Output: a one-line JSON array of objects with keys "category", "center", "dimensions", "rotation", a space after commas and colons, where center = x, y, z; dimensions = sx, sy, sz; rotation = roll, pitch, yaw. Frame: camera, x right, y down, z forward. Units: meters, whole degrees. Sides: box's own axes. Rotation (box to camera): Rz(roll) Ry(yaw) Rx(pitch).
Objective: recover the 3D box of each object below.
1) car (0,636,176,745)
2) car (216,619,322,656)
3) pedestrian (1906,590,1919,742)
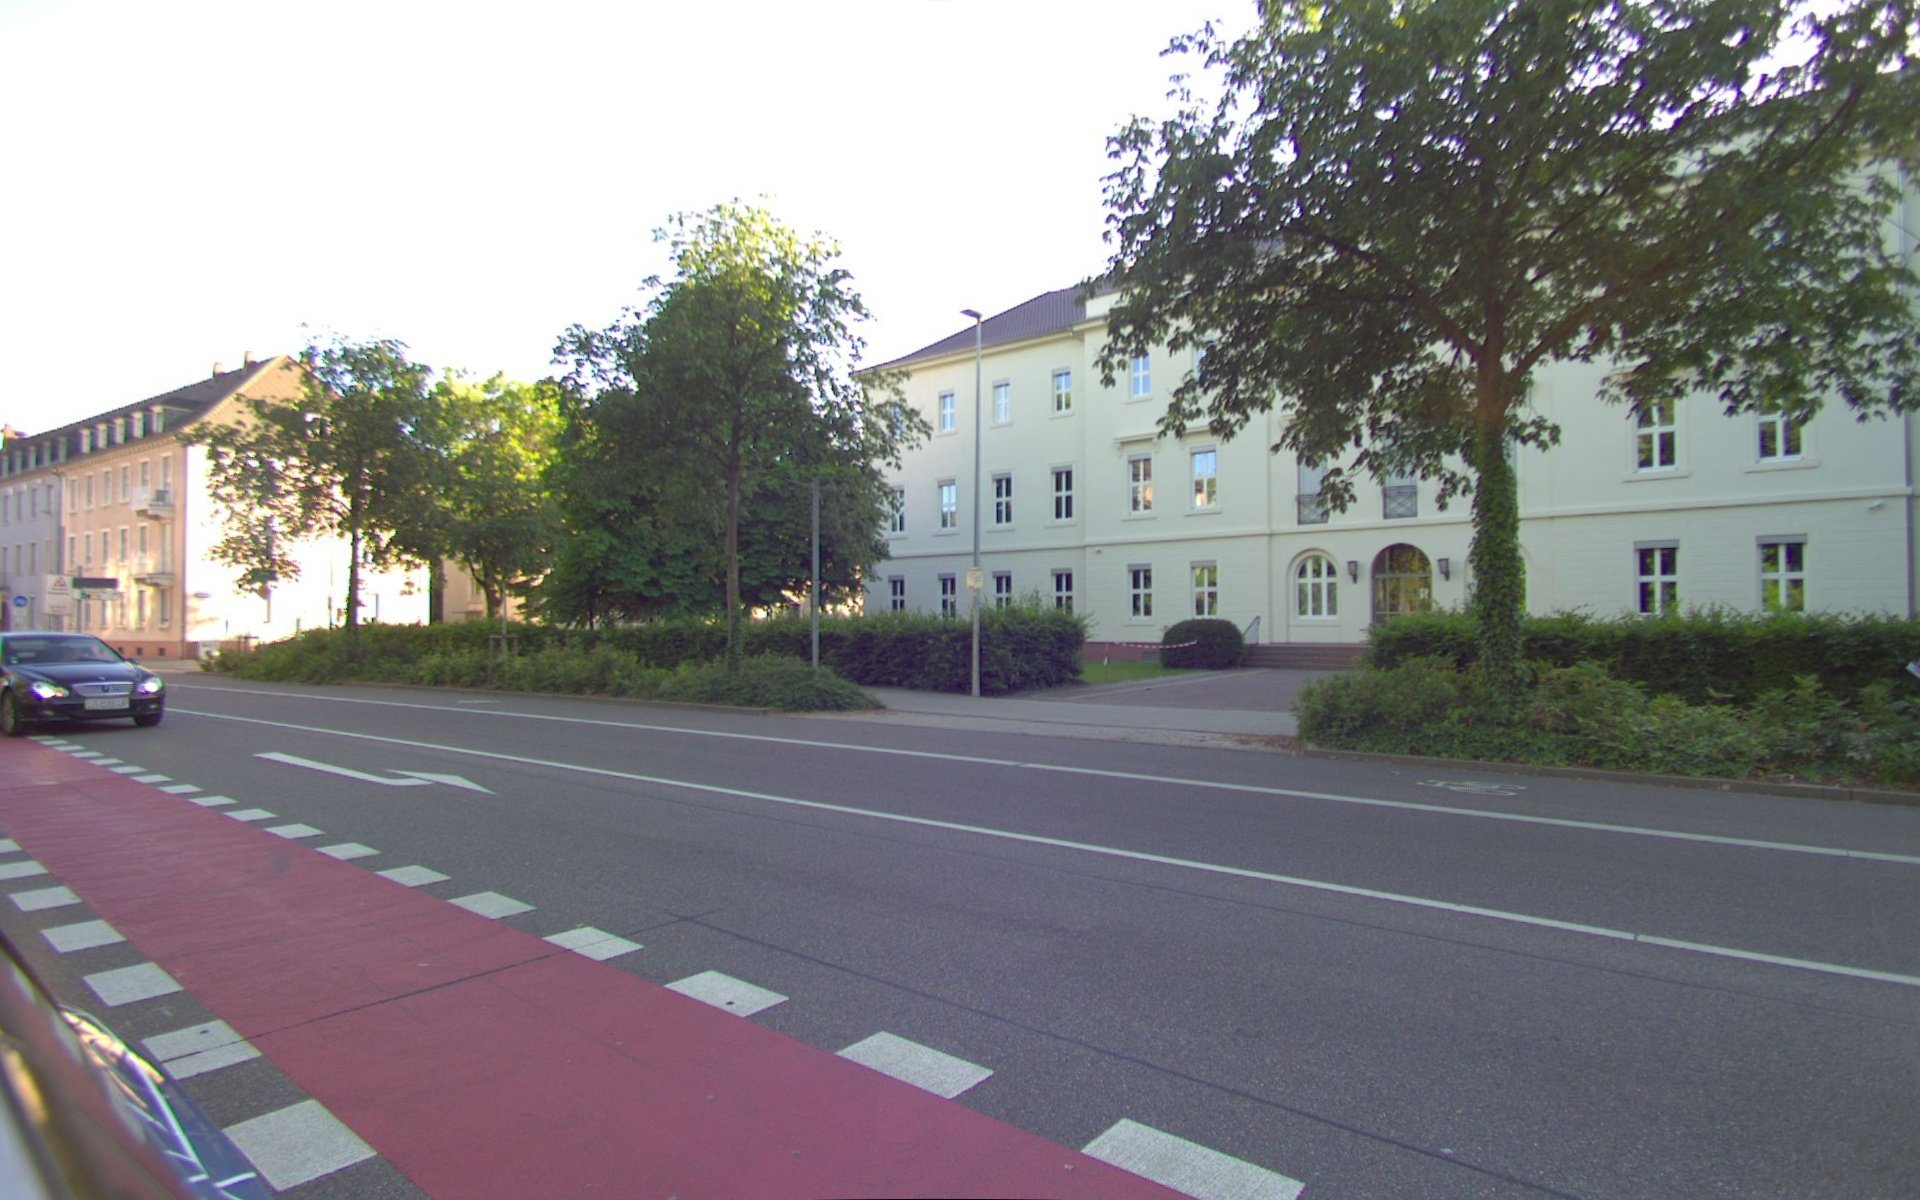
[{"category": "car", "center": [-13.562, 1.241, 14.962], "dimensions": [4.249, 1.416, 1.692], "rotation": [-1, -3, 31]}, {"category": "car", "center": [-34.602, 1.844, 50.749], "dimensions": [1.993, 1.674, 3.958], "rotation": [-1, -1, 31]}, {"category": "pedestrian", "center": [11.571, 0.760, 11.611], "dimensions": [0.968, 1.733, 0.825], "rotation": [-2, -3, 42]}]
